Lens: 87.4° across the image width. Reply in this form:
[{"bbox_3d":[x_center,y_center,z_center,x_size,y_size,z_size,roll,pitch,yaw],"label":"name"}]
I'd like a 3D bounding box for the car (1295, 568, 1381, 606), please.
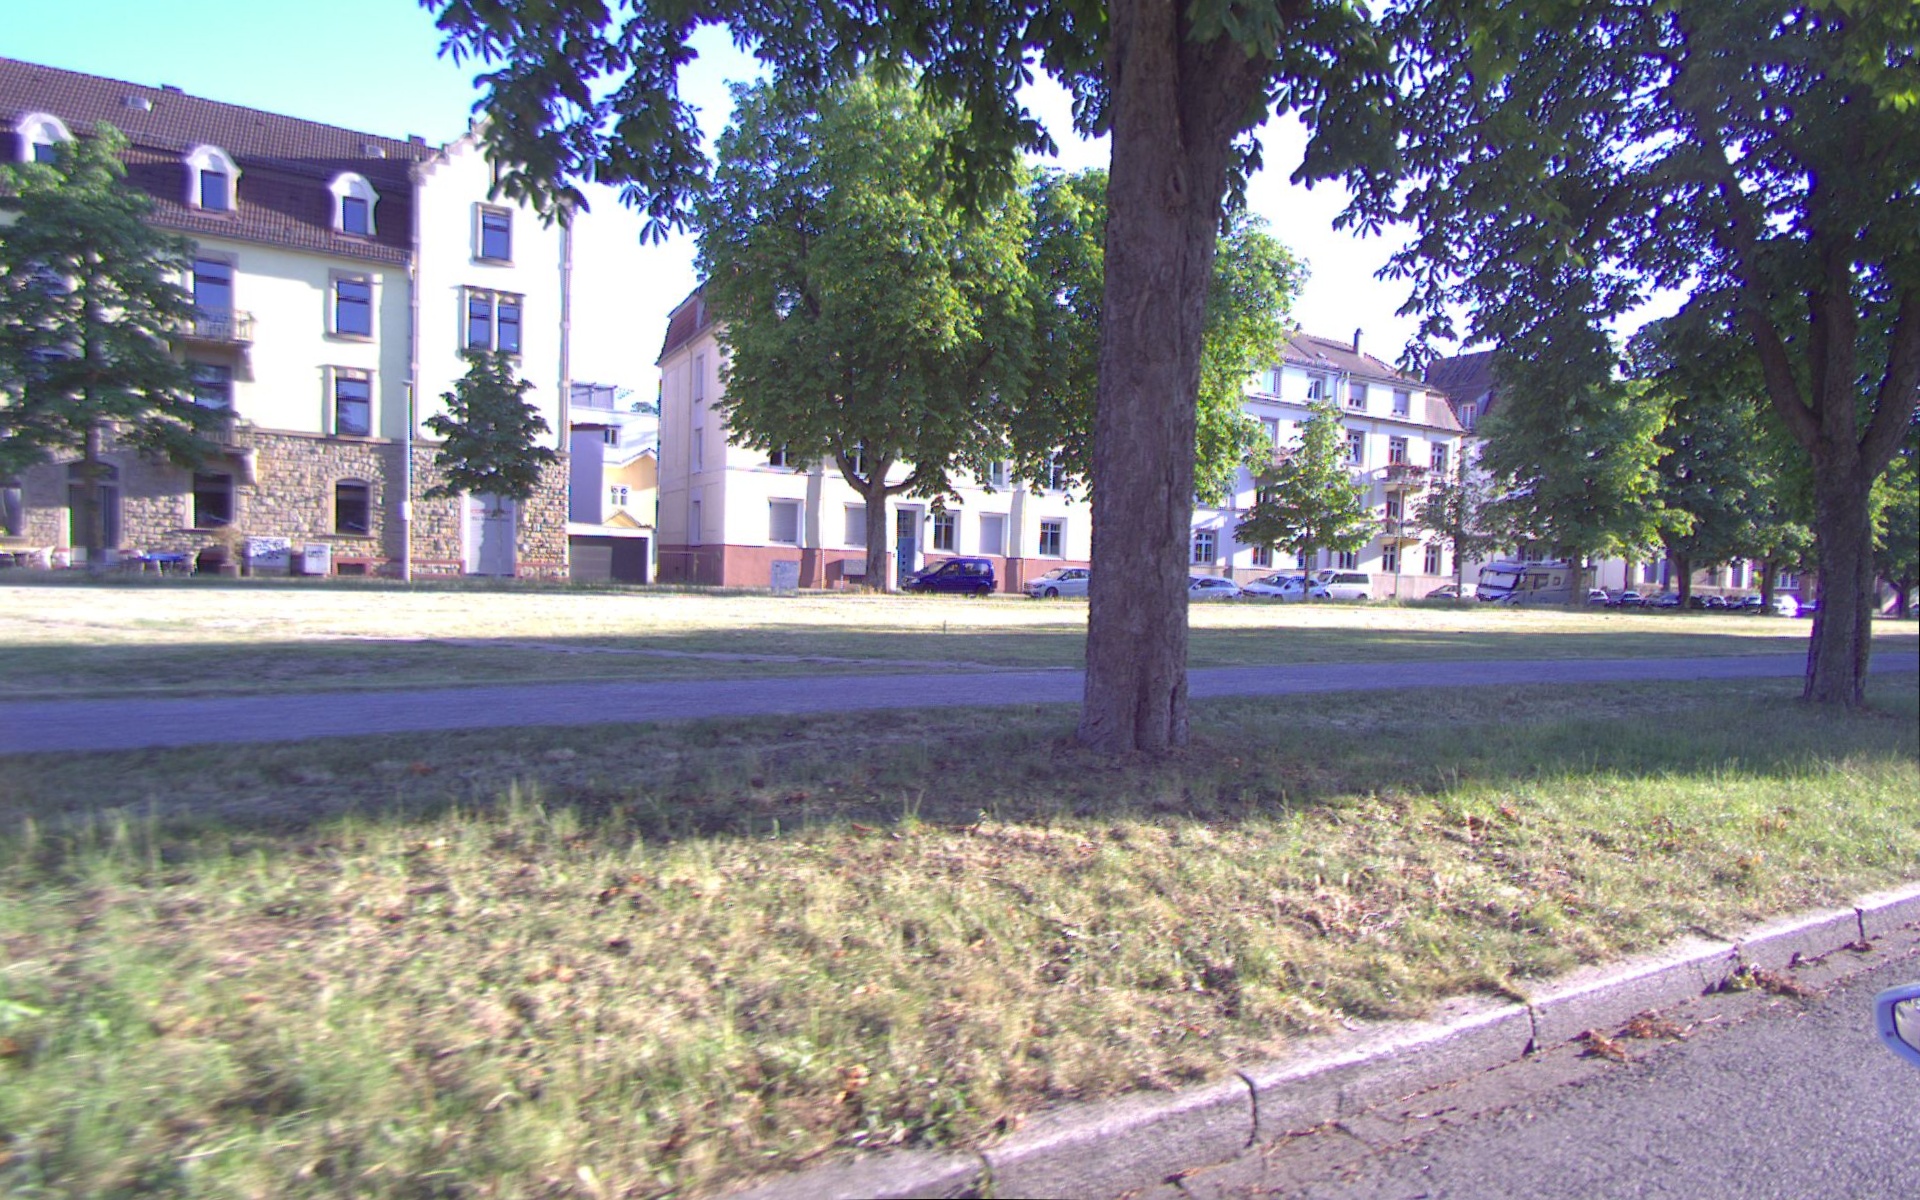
[{"bbox_3d":[21.658,-0.746,57.547,4.820,1.976,1.984,1,3,-30],"label":"car"}]

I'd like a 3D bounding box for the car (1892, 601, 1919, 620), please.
[{"bbox_3d":[91.532,1.050,96.160,4.300,1.681,1.985,2,4,-27],"label":"car"}]

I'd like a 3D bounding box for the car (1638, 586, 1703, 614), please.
[{"bbox_3d":[51.878,0.001,73.366,4.319,1.681,1.985,2,4,-27],"label":"car"}]

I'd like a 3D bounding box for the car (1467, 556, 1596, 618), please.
[{"bbox_3d":[32.162,-0.705,56.478,7.756,3.173,2.381,1,5,-29],"label":"car"}]

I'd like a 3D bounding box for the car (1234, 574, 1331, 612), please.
[{"bbox_3d":[15.115,-0.330,47.070,4.367,1.575,1.786,0,5,-31],"label":"car"}]

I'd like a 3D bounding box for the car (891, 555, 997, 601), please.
[{"bbox_3d":[-0.709,-0.986,45.092,4.257,1.759,1.985,2,4,-27],"label":"car"}]

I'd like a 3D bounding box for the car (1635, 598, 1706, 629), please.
[{"bbox_3d":[45.372,0.845,64.130,4.262,1.697,1.871,2,4,-28],"label":"car"}]

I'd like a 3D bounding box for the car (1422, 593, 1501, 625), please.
[{"bbox_3d":[31.119,0.549,62.347,4.512,1.681,1.985,2,4,-27],"label":"car"}]

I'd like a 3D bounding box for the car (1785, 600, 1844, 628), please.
[{"bbox_3d":[62.780,1.010,73.790,4.071,1.805,1.804,2,4,-28],"label":"car"}]

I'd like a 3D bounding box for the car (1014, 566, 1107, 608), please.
[{"bbox_3d":[4.794,-0.621,47.921,3.949,1.681,1.985,2,4,-27],"label":"car"}]

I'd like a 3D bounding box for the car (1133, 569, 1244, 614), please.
[{"bbox_3d":[10.107,-0.367,44.382,4.512,1.681,1.985,2,4,-27],"label":"car"}]
